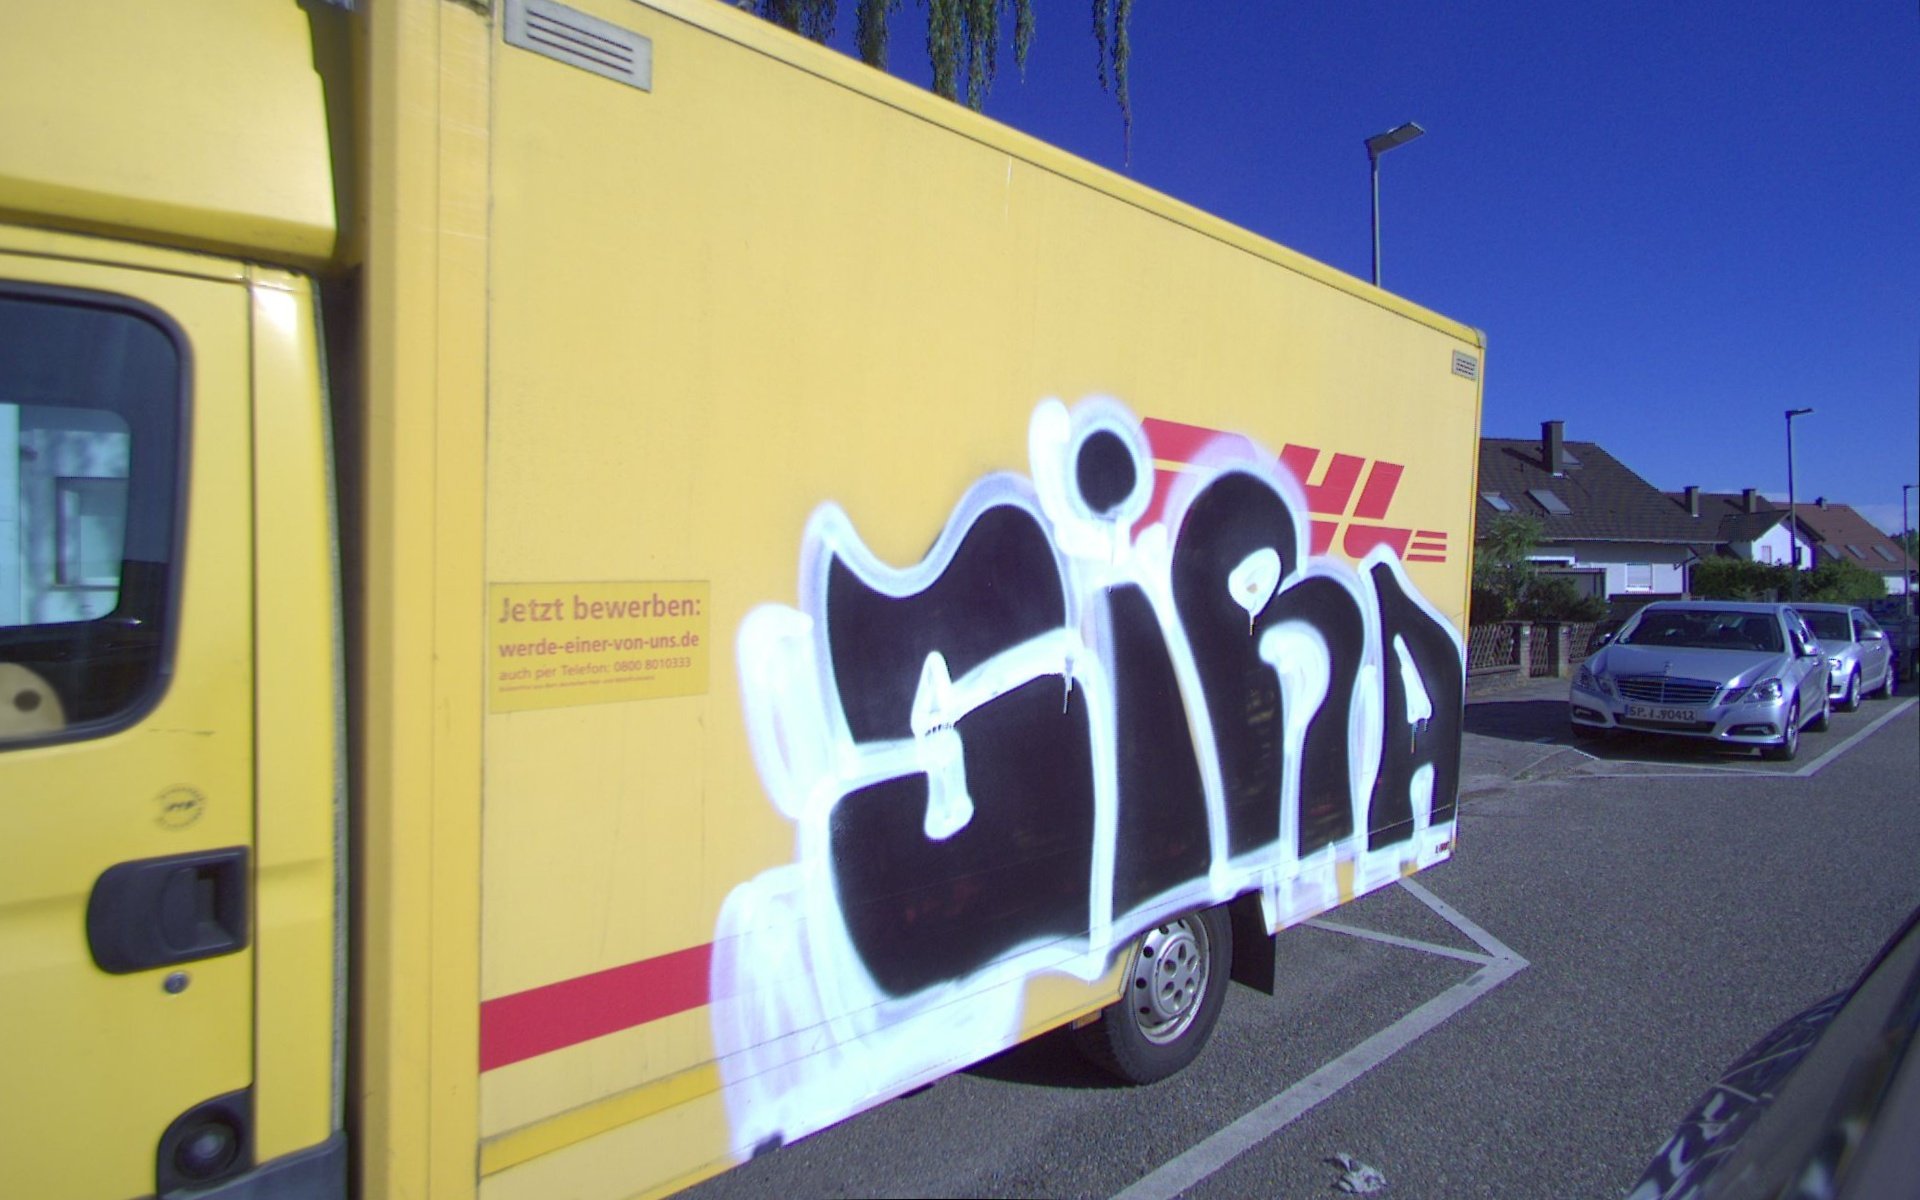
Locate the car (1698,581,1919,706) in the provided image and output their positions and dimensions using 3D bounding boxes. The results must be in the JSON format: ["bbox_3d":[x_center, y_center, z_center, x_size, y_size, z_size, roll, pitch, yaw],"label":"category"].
[{"bbox_3d":[12.329,0.543,14.590,3.969,1.562,1.678,0,-1,-38],"label":"car"}]

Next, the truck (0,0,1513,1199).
[{"bbox_3d":[-0.943,-0.040,3.117,6.895,2.973,2.407,-1,2,-41],"label":"truck"}]

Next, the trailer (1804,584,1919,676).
[{"bbox_3d":[16.992,0.503,18.684,3.142,1.558,1.630,0,0,-40],"label":"trailer"}]

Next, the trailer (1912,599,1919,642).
[{"bbox_3d":[29.181,0.584,29.730,3.093,1.233,1.628,0,0,-44],"label":"trailer"}]

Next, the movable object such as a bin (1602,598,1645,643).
[{"bbox_3d":[16.148,0.491,24.633,0.737,1.066,0.526,0,0,-16],"label":"movable object such as a bin"}]

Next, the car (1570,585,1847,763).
[{"bbox_3d":[8.331,0.636,11.094,4.463,1.562,1.784,0,0,-45],"label":"car"}]
